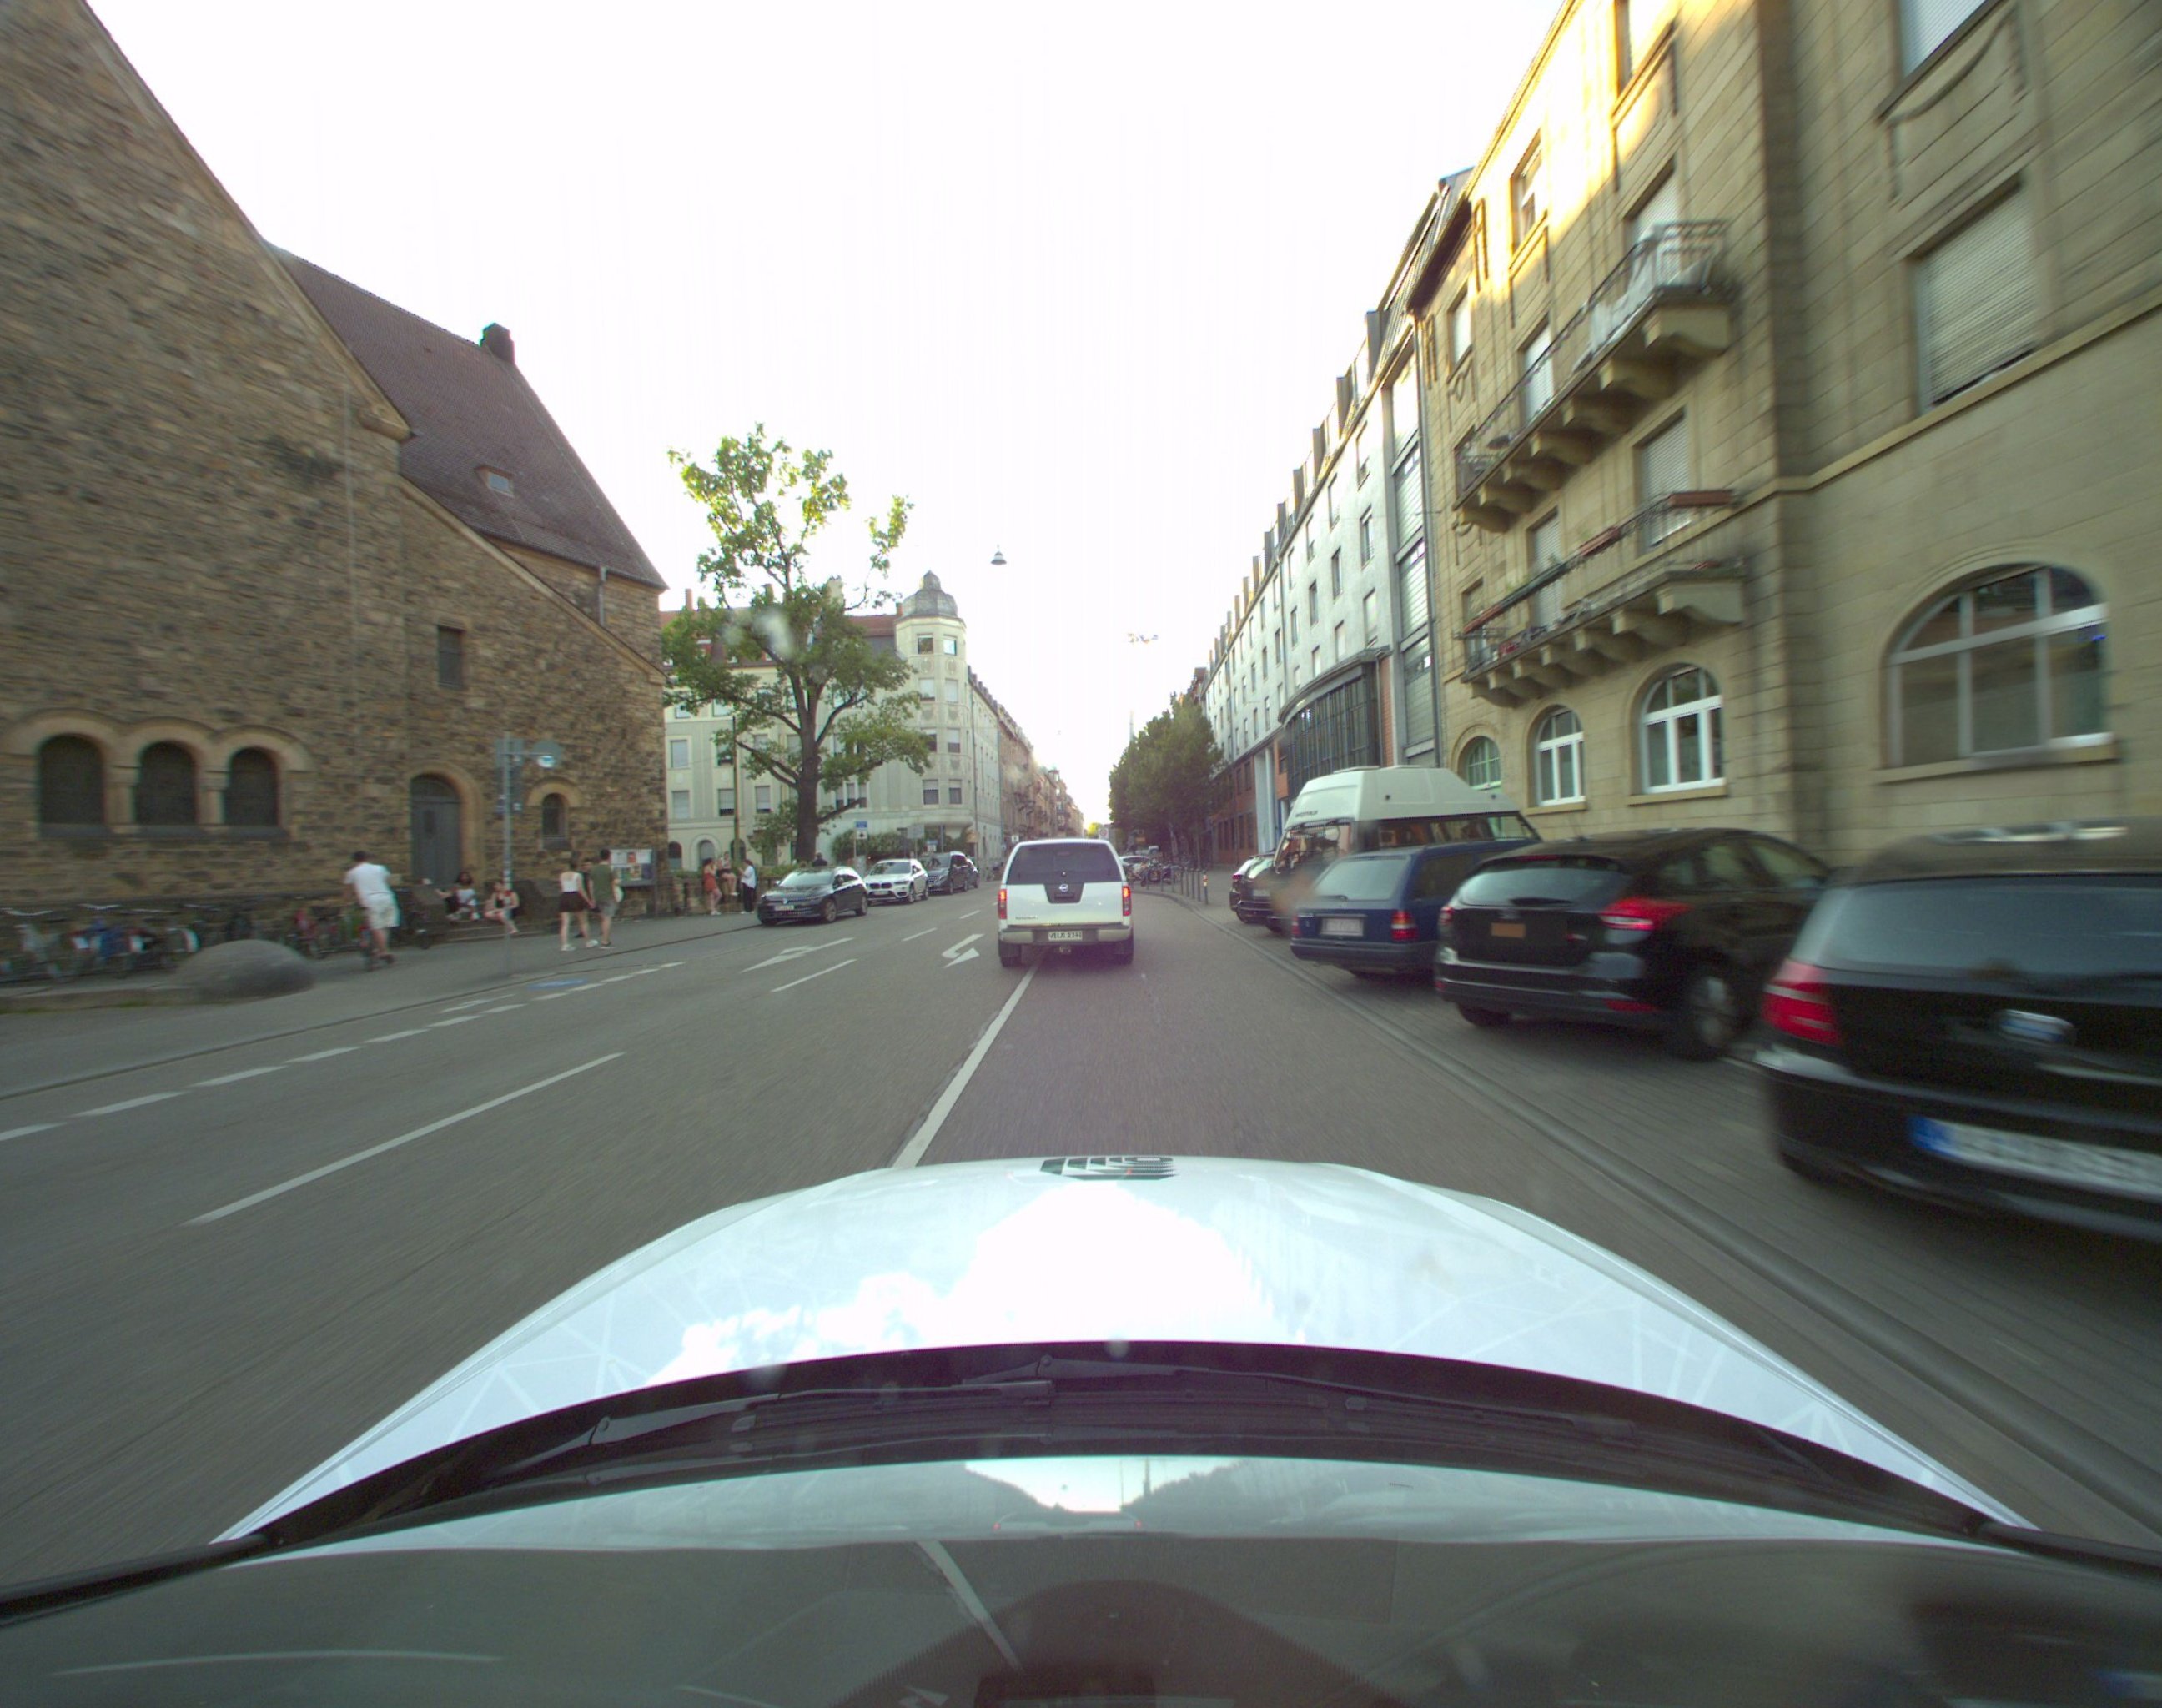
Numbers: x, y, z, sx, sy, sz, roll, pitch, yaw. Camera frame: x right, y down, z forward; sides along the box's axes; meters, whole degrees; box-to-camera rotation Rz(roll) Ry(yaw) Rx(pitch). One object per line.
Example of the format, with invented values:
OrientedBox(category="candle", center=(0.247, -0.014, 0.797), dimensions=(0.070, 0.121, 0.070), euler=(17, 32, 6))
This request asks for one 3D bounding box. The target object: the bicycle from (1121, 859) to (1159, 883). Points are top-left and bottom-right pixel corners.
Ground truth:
OrientedBox(category="bicycle", center=(2.957, 0.870, 40.887), dimensions=(1.851, 1.066, 0.445), euler=(-4, 0, 0))

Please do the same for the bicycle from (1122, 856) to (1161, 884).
OrientedBox(category="bicycle", center=(2.830, 0.757, 38.095), dimensions=(1.702, 1.176, 0.472), euler=(-4, 0, 0))

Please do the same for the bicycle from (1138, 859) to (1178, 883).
OrientedBox(category="bicycle", center=(3.759, 0.809, 39.666), dimensions=(1.851, 1.038, 0.402), euler=(-4, 0, 0))

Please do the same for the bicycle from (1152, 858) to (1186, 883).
OrientedBox(category="bicycle", center=(4.169, 0.780, 38.582), dimensions=(1.534, 1.038, 0.472), euler=(-4, 0, 0))

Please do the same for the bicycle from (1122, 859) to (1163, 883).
OrientedBox(category="bicycle", center=(2.959, 0.821, 39.102), dimensions=(1.851, 1.038, 0.472), euler=(-4, 0, 0))

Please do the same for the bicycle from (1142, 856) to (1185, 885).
OrientedBox(category="bicycle", center=(3.796, 0.741, 37.495), dimensions=(1.852, 1.146, 0.659), euler=(-5, 0, 1))

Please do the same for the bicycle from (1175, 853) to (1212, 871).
OrientedBox(category="bicycle", center=(7.950, 0.582, 57.787), dimensions=(2.523, 1.166, 0.563), euler=(-2, -1, 4))

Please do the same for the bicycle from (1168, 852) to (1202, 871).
OrientedBox(category="bicycle", center=(8.141, 0.582, 63.702), dimensions=(2.523, 1.379, 0.600), euler=(-2, -1, 4))

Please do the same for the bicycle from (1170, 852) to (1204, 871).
OrientedBox(category="bicycle", center=(8.208, 0.573, 63.017), dimensions=(2.523, 1.379, 0.600), euler=(-2, -1, 4))

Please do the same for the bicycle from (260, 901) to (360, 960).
OrientedBox(category="bicycle", center=(-13.690, 1.357, 14.450), dimensions=(1.864, 0.989, 0.372), euler=(-2, -1, 16))

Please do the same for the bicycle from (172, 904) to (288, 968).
OrientedBox(category="bicycle", center=(-14.138, 1.358, 13.525), dimensions=(1.968, 0.989, 0.468), euler=(-2, -1, 17))

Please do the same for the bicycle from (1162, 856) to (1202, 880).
OrientedBox(category="bicycle", center=(5.011, 0.689, 40.410), dimensions=(1.851, 1.066, 0.524), euler=(-4, 0, 0))

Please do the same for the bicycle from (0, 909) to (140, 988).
OrientedBox(category="bicycle", center=(-14.816, 1.357, 11.928), dimensions=(1.986, 0.989, 0.588), euler=(1, 0, 17))

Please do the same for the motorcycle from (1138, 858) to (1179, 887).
OrientedBox(category="motorcycle", center=(3.450, 0.814, 36.118), dimensions=(1.643, 1.101, 0.645), euler=(-5, 0, -7))

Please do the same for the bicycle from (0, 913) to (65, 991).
OrientedBox(category="bicycle", center=(-15.114, 1.348, 11.239), dimensions=(1.987, 0.989, 0.588), euler=(-2, 0, 15))

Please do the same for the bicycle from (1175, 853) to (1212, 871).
OrientedBox(category="bicycle", center=(7.912, 0.584, 57.177), dimensions=(2.523, 1.166, 0.563), euler=(-2, -1, 4))

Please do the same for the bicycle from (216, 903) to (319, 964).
OrientedBox(category="bicycle", center=(-13.925, 1.361, 13.932), dimensions=(1.864, 0.989, 0.372), euler=(-2, -1, 17))

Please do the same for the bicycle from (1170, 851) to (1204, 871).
OrientedBox(category="bicycle", center=(8.070, 0.547, 62.166), dimensions=(2.523, 1.379, 0.600), euler=(-2, -1, 4))

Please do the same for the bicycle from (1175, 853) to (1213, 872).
OrientedBox(category="bicycle", center=(7.855, 0.590, 56.516), dimensions=(2.523, 1.166, 0.563), euler=(-2, -1, 4))

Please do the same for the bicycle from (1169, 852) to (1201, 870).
OrientedBox(category="bicycle", center=(8.493, 0.544, 66.328), dimensions=(2.523, 1.379, 0.600), euler=(-2, -1, 4))

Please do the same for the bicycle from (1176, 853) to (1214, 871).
OrientedBox(category="bicycle", center=(7.805, 0.550, 55.906), dimensions=(2.523, 1.166, 0.563), euler=(-2, -1, 4))

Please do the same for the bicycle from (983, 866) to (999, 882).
OrientedBox(category="bicycle", center=(-6.305, 1.387, 57.046), dimensions=(0.420, 1.012, 1.726), euler=(-2, 1, 16))

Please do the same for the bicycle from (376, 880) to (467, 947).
OrientedBox(category="bicycle", center=(-12.981, 1.171, 16.033), dimensions=(1.715, 1.248, 0.439), euler=(-2, 0, 16))

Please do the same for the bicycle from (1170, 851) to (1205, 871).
OrientedBox(category="bicycle", center=(8.039, 0.552, 61.507), dimensions=(2.523, 1.379, 0.600), euler=(-2, -1, 4))

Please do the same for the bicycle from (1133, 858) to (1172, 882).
OrientedBox(category="bicycle", center=(3.652, 0.812, 41.572), dimensions=(1.905, 1.066, 0.524), euler=(-4, 0, 0))

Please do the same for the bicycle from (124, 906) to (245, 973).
OrientedBox(category="bicycle", center=(-14.336, 1.369, 13.017), dimensions=(1.986, 0.989, 0.468), euler=(-2, -1, 17))

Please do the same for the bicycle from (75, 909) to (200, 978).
OrientedBox(category="bicycle", center=(-14.542, 1.374, 12.545), dimensions=(1.986, 0.989, 0.468), euler=(-2, -1, 17))

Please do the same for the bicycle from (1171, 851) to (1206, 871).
OrientedBox(category="bicycle", center=(8.038, 0.547, 60.792), dimensions=(2.523, 1.379, 0.600), euler=(-2, -1, 4))

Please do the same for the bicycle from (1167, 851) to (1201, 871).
OrientedBox(category="bicycle", center=(8.253, 0.542, 65.099), dimensions=(2.523, 1.244, 0.600), euler=(-8, -1, 4))

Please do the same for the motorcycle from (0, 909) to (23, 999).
OrientedBox(category="motorcycle", center=(-14.961, 1.290, 10.256), dimensions=(2.403, 1.126, 0.823), euler=(0, 0, 5))

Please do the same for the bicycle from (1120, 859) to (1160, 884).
OrientedBox(category="bicycle", center=(2.900, 0.850, 40.114), dimensions=(1.851, 1.066, 0.445), euler=(-4, 0, 0))

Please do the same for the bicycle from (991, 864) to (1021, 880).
OrientedBox(category="bicycle", center=(-5.369, 1.272, 58.154), dimensions=(2.090, 1.095, 0.504), euler=(-1, 1, 26))

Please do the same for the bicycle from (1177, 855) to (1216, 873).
OrientedBox(category="bicycle", center=(7.805, 0.677, 55.283), dimensions=(2.523, 0.959, 0.681), euler=(-6, -1, 4))
